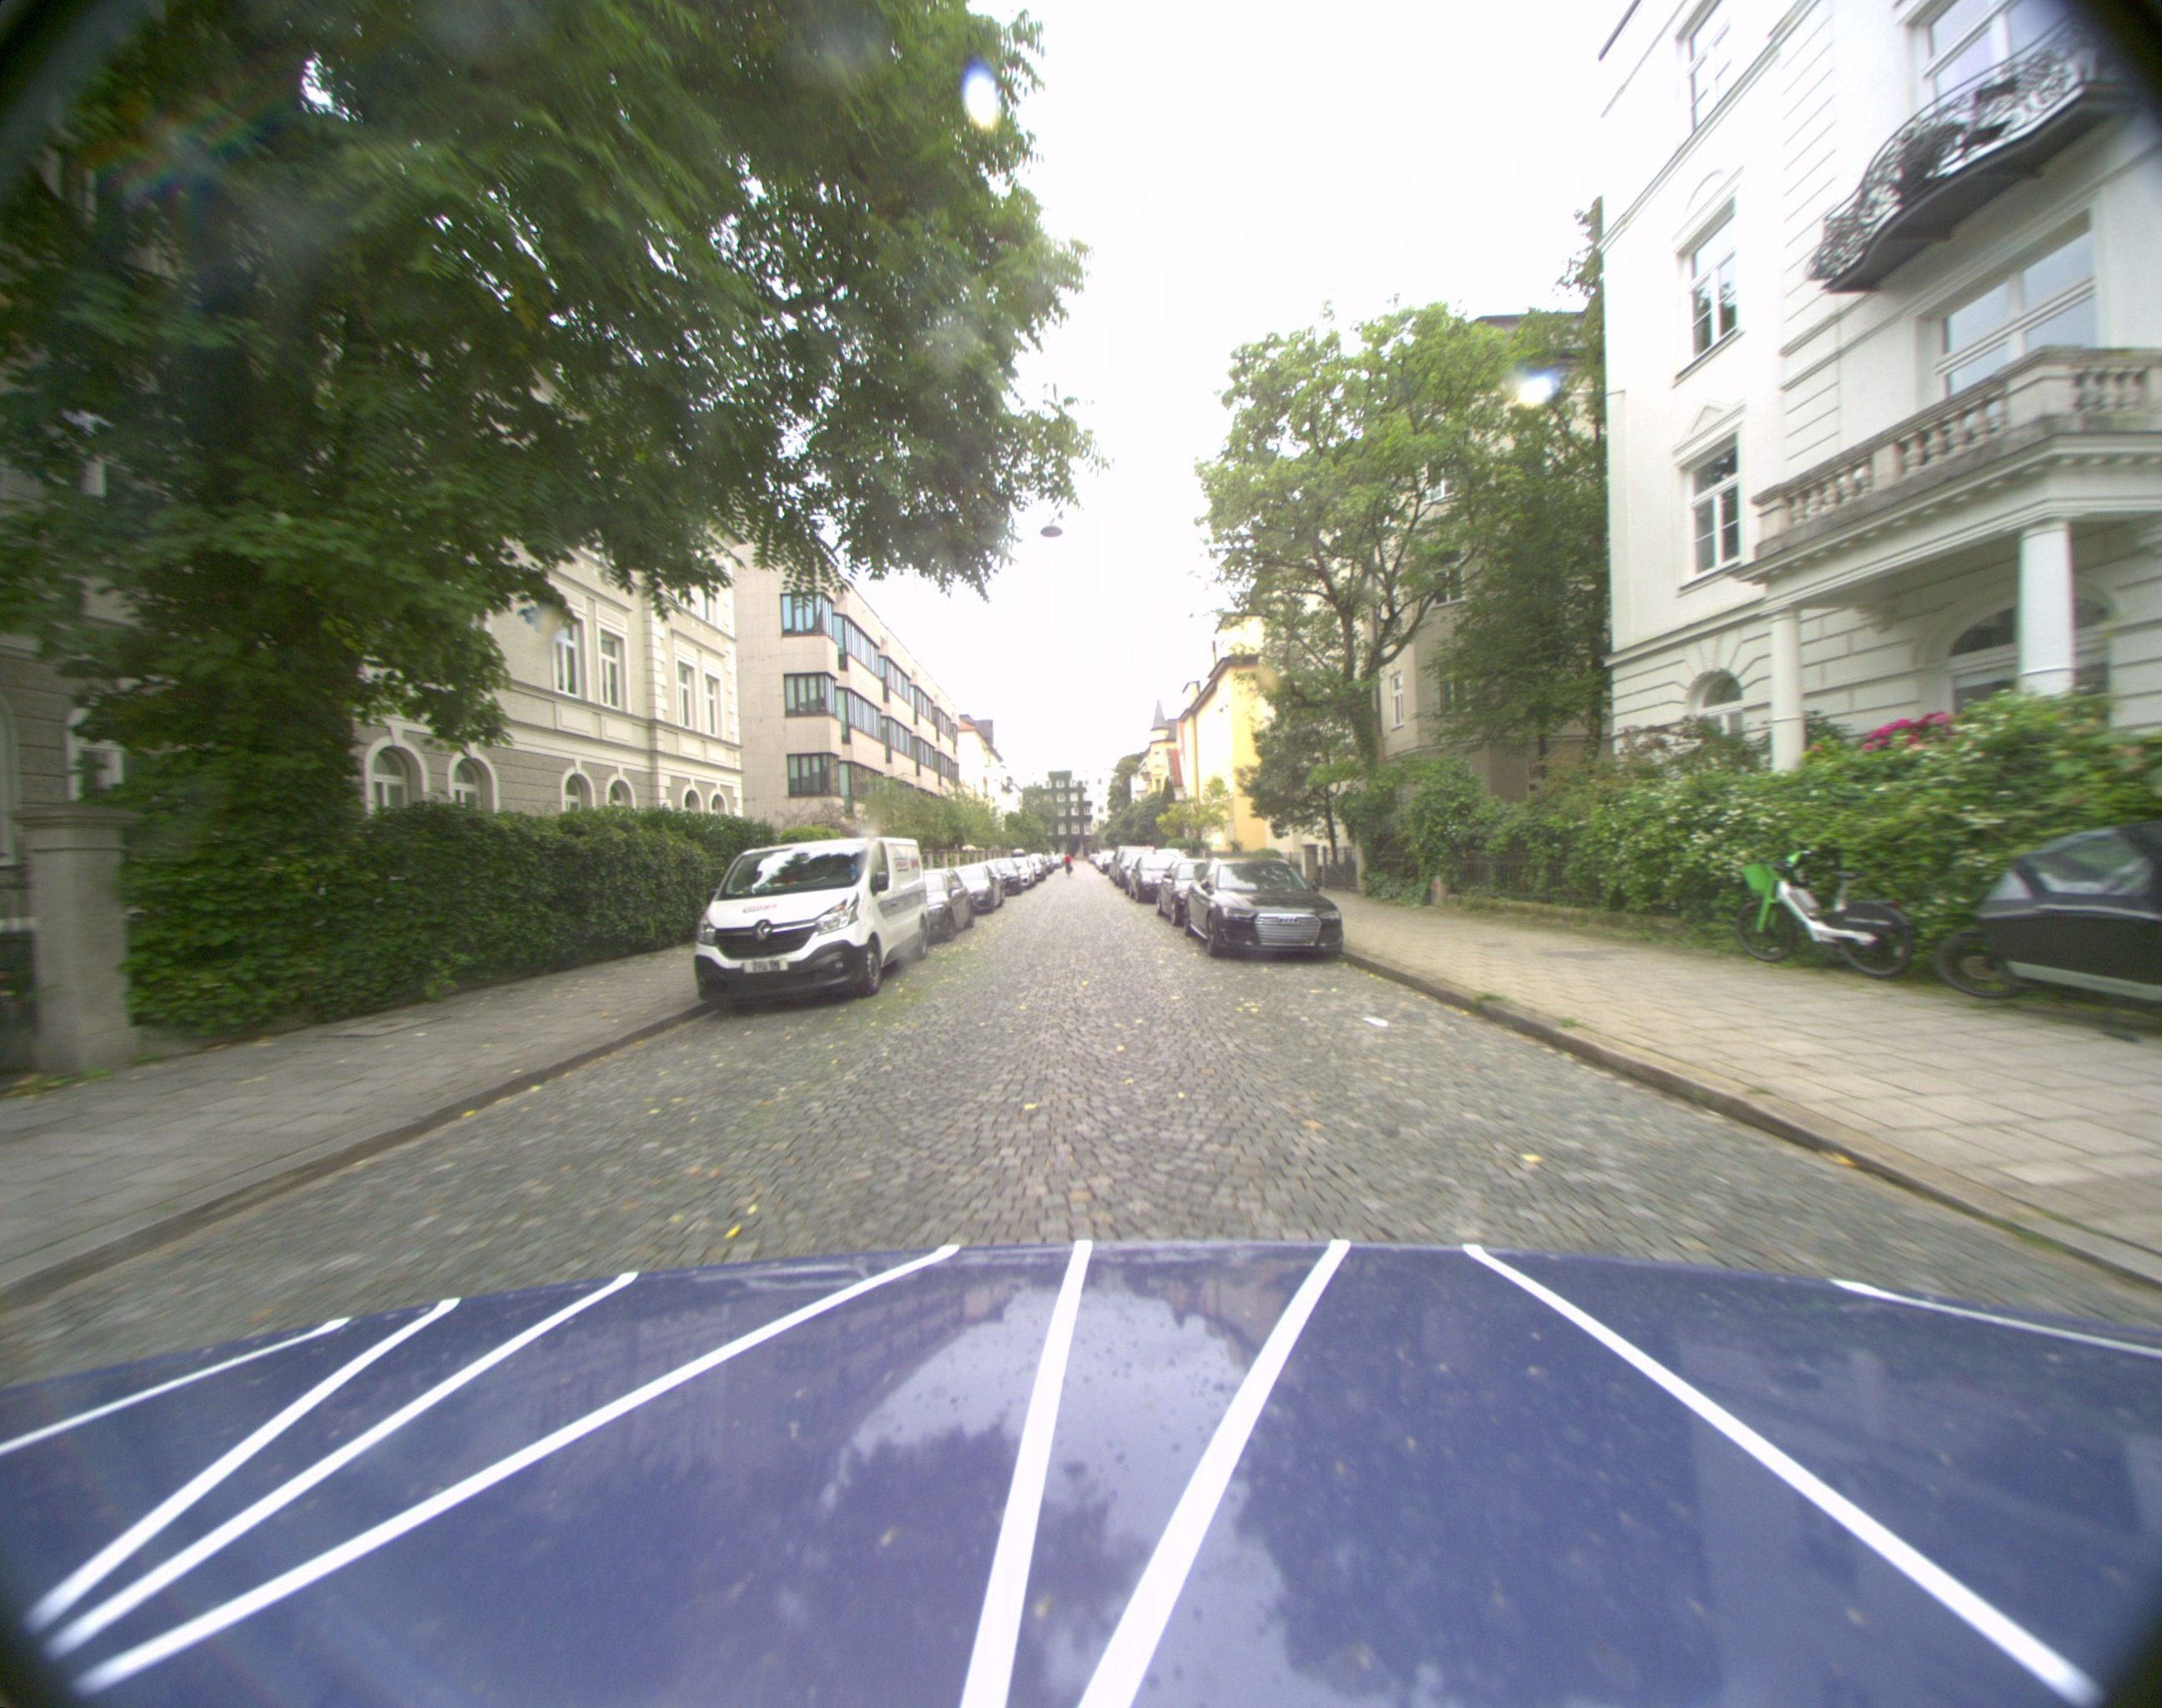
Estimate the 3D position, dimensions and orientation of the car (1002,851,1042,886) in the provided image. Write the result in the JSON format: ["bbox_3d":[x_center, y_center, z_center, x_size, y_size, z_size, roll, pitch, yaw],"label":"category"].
[{"bbox_3d":[-3.270,0.761,42.965,1.878,1.725,4.746,-6,0,-2],"label":"car"}]

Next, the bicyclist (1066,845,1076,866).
[{"bbox_3d":[-0.684,0.099,52.681,0.648,1.350,0.656,-4,1,-1],"label":"bicyclist"}]

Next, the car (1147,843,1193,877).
[{"bbox_3d":[5.114,0.320,44.207,1.950,1.725,4.656,-5,0,-1],"label":"car"}]

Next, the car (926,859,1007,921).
[{"bbox_3d":[-3.276,0.978,22.527,1.718,1.464,4.268,-5,0,-1],"label":"car"}]

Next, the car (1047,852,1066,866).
[{"bbox_3d":[-3.045,0.653,94.851,1.998,1.543,4.985,-4,0,1],"label":"car"}]

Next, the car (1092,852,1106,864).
[{"bbox_3d":[2.592,0.593,112.961,1.744,1.577,4.190,-1,1,-3],"label":"car"}]

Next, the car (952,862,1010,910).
[{"bbox_3d":[-3.522,1.077,27.247,1.699,1.432,4.060,-5,0,-4],"label":"car"}]

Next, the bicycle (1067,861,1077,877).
[{"bbox_3d":[-0.632,1.008,52.811,0.636,1.021,1.955,-3,1,0],"label":"bicycle"}]

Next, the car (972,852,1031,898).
[{"bbox_3d":[-3.349,0.850,32.854,1.878,1.660,4.657,-5,0,0],"label":"car"}]

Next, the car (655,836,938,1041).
[{"bbox_3d":[-3.365,0.845,10.293,1.878,1.917,5.163,-5,0,-2],"label":"car"}]

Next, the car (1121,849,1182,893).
[{"bbox_3d":[2.648,0.590,29.577,1.983,1.552,5.017,0,0,1],"label":"car"}]

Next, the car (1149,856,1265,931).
[{"bbox_3d":[2.681,0.790,17.216,1.788,1.409,4.496,1,0,-1],"label":"car"}]

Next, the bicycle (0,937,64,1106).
[{"bbox_3d":[-8.308,1.192,5.424,1.435,1.145,0.408,0,1,-4],"label":"bicycle"}]

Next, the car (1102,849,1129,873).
[{"bbox_3d":[2.687,0.538,59.495,1.922,1.725,4.755,2,1,1],"label":"car"}]

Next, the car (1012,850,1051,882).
[{"bbox_3d":[-3.070,0.713,48.262,1.877,1.725,4.891,-4,0,2],"label":"car"}]

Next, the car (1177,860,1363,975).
[{"bbox_3d":[2.718,0.838,12.030,1.891,1.409,4.406,1,0,1],"label":"car"}]

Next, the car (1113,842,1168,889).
[{"bbox_3d":[2.611,0.463,34.433,1.998,1.906,5.176,1,0,-1],"label":"car"}]

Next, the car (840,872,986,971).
[{"bbox_3d":[-3.280,1.259,15.803,1.841,1.481,4.421,-5,0,1],"label":"car"}]

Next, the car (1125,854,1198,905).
[{"bbox_3d":[2.490,0.741,24.381,1.667,1.435,4.170,-1,0,-3],"label":"car"}]

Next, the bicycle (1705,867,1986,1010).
[{"bbox_3d":[7.146,0.712,7.288,0.578,1.116,2.050,-2,0,-1],"label":"bicycle"}]

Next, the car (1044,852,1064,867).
[{"bbox_3d":[-3.138,0.640,89.569,1.998,1.543,5.014,-5,0,0],"label":"car"}]

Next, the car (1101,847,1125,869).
[{"bbox_3d":[2.731,0.302,66.056,2.011,1.798,5.174,0,0,1],"label":"car"}]

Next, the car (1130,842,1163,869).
[{"bbox_3d":[5.174,0.103,60.808,1.999,1.920,5.329,-4,0,-1],"label":"car"}]

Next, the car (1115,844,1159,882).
[{"bbox_3d":[2.873,0.425,39.832,1.878,1.906,4.826,0,0,-1],"label":"car"}]

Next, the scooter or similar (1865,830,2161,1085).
[{"bbox_3d":[6.664,0.587,4.624,0.943,1.433,2.656,-4,0,-1],"label":"scooter or similar"}]

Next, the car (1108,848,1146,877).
[{"bbox_3d":[2.765,0.494,46.388,1.870,1.725,4.402,0,0,-2],"label":"car"}]

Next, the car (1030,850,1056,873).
[{"bbox_3d":[-3.217,0.630,65.248,1.865,1.692,4.812,-5,0,0],"label":"car"}]

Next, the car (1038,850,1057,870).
[{"bbox_3d":[-3.208,0.596,73.842,1.623,1.741,3.886,-5,0,-1],"label":"car"}]

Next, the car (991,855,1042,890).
[{"bbox_3d":[-3.156,0.874,37.831,1.877,1.481,4.617,-5,0,2],"label":"car"}]
